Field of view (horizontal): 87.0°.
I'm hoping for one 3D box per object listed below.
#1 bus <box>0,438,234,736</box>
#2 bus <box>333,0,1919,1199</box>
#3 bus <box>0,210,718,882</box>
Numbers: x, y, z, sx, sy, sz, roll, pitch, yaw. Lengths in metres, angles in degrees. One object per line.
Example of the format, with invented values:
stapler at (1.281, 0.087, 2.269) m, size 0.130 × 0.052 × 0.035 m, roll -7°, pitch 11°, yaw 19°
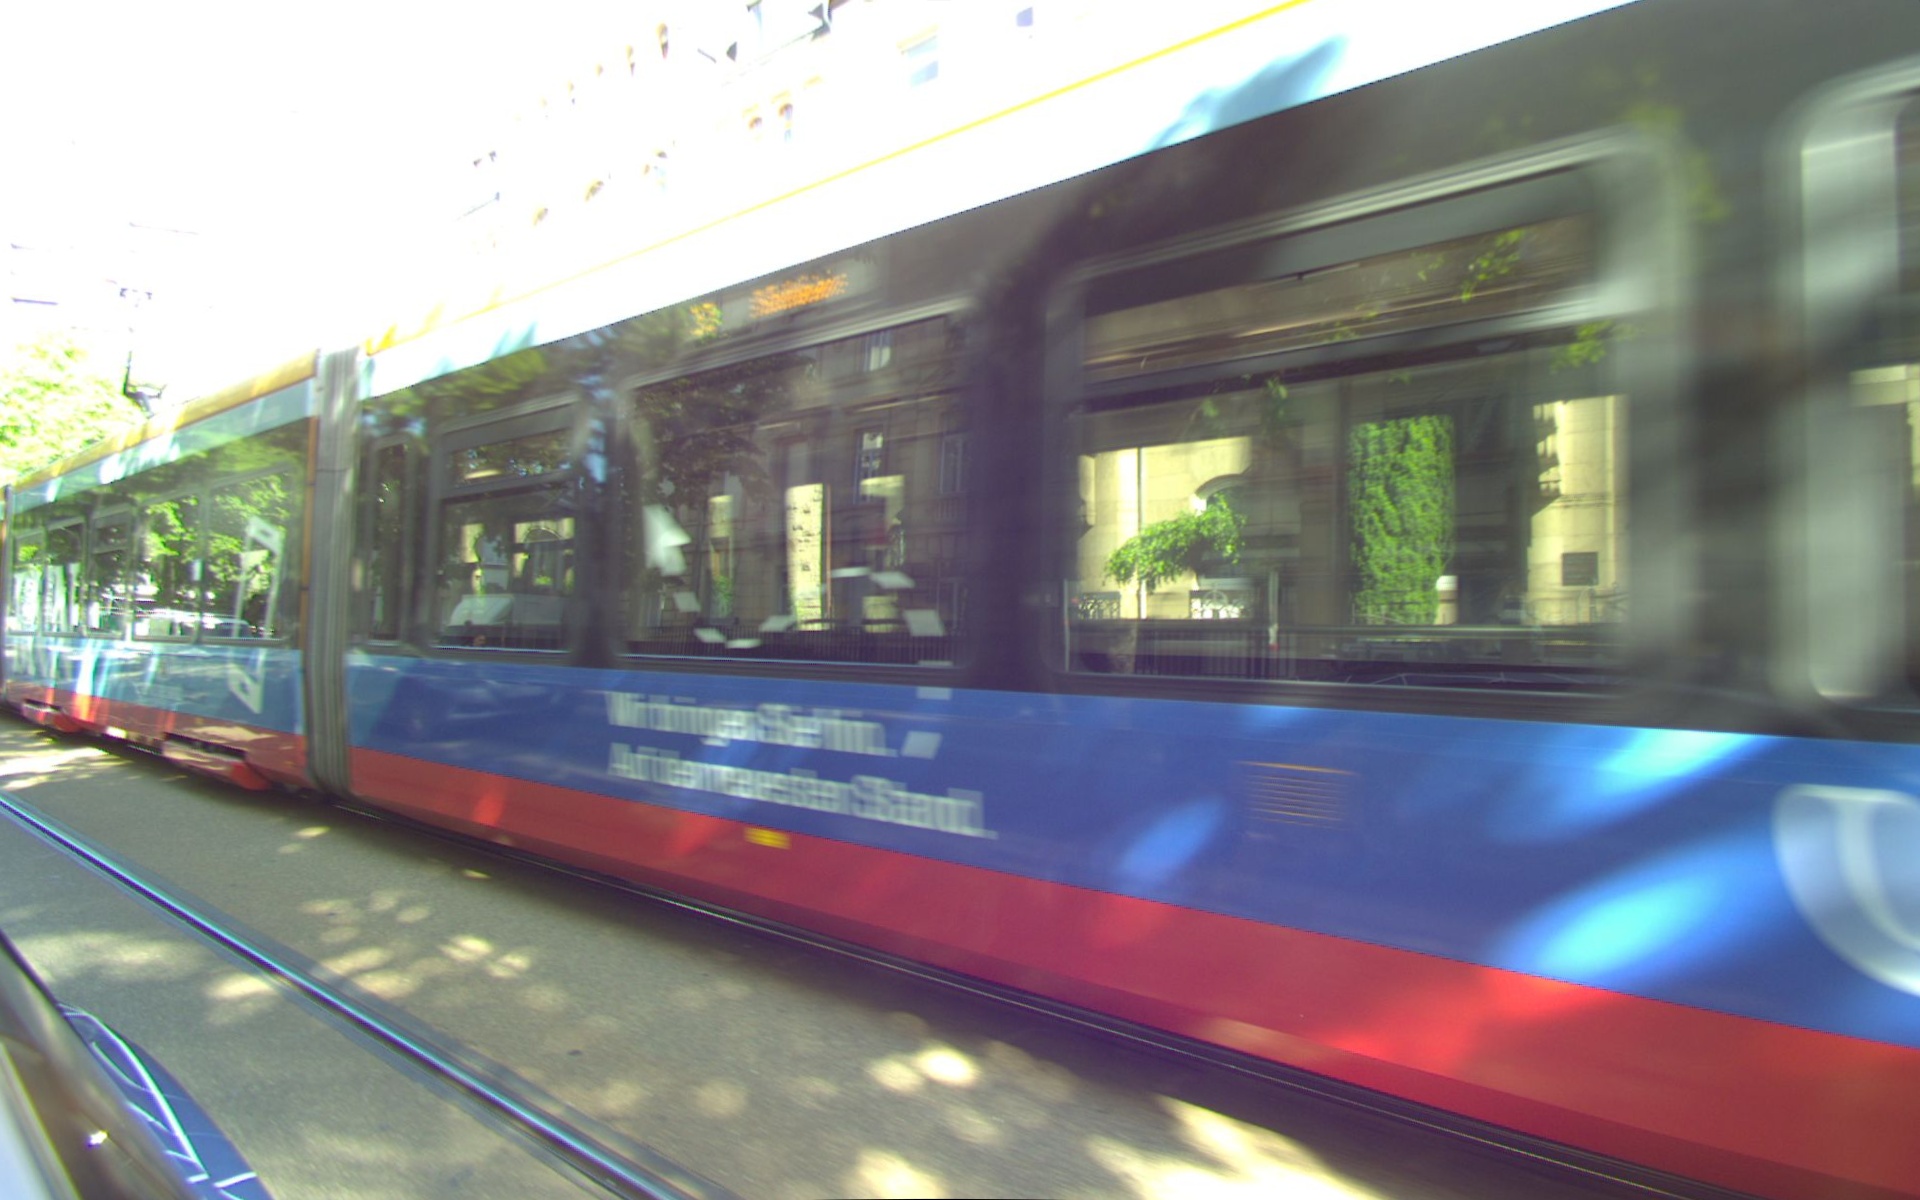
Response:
bus at (-16.097, -0.161, 17.346) m, size 11.482 × 3.805 × 2.832 m, roll 0°, pitch 0°, yaw 38°
bus at (2.215, -0.373, 2.924) m, size 12.180 × 3.805 × 2.823 m, roll 0°, pitch 0°, yaw 38°
bus at (-7.168, -0.306, 10.301) m, size 11.167 × 3.805 × 2.832 m, roll 0°, pitch 0°, yaw 38°
